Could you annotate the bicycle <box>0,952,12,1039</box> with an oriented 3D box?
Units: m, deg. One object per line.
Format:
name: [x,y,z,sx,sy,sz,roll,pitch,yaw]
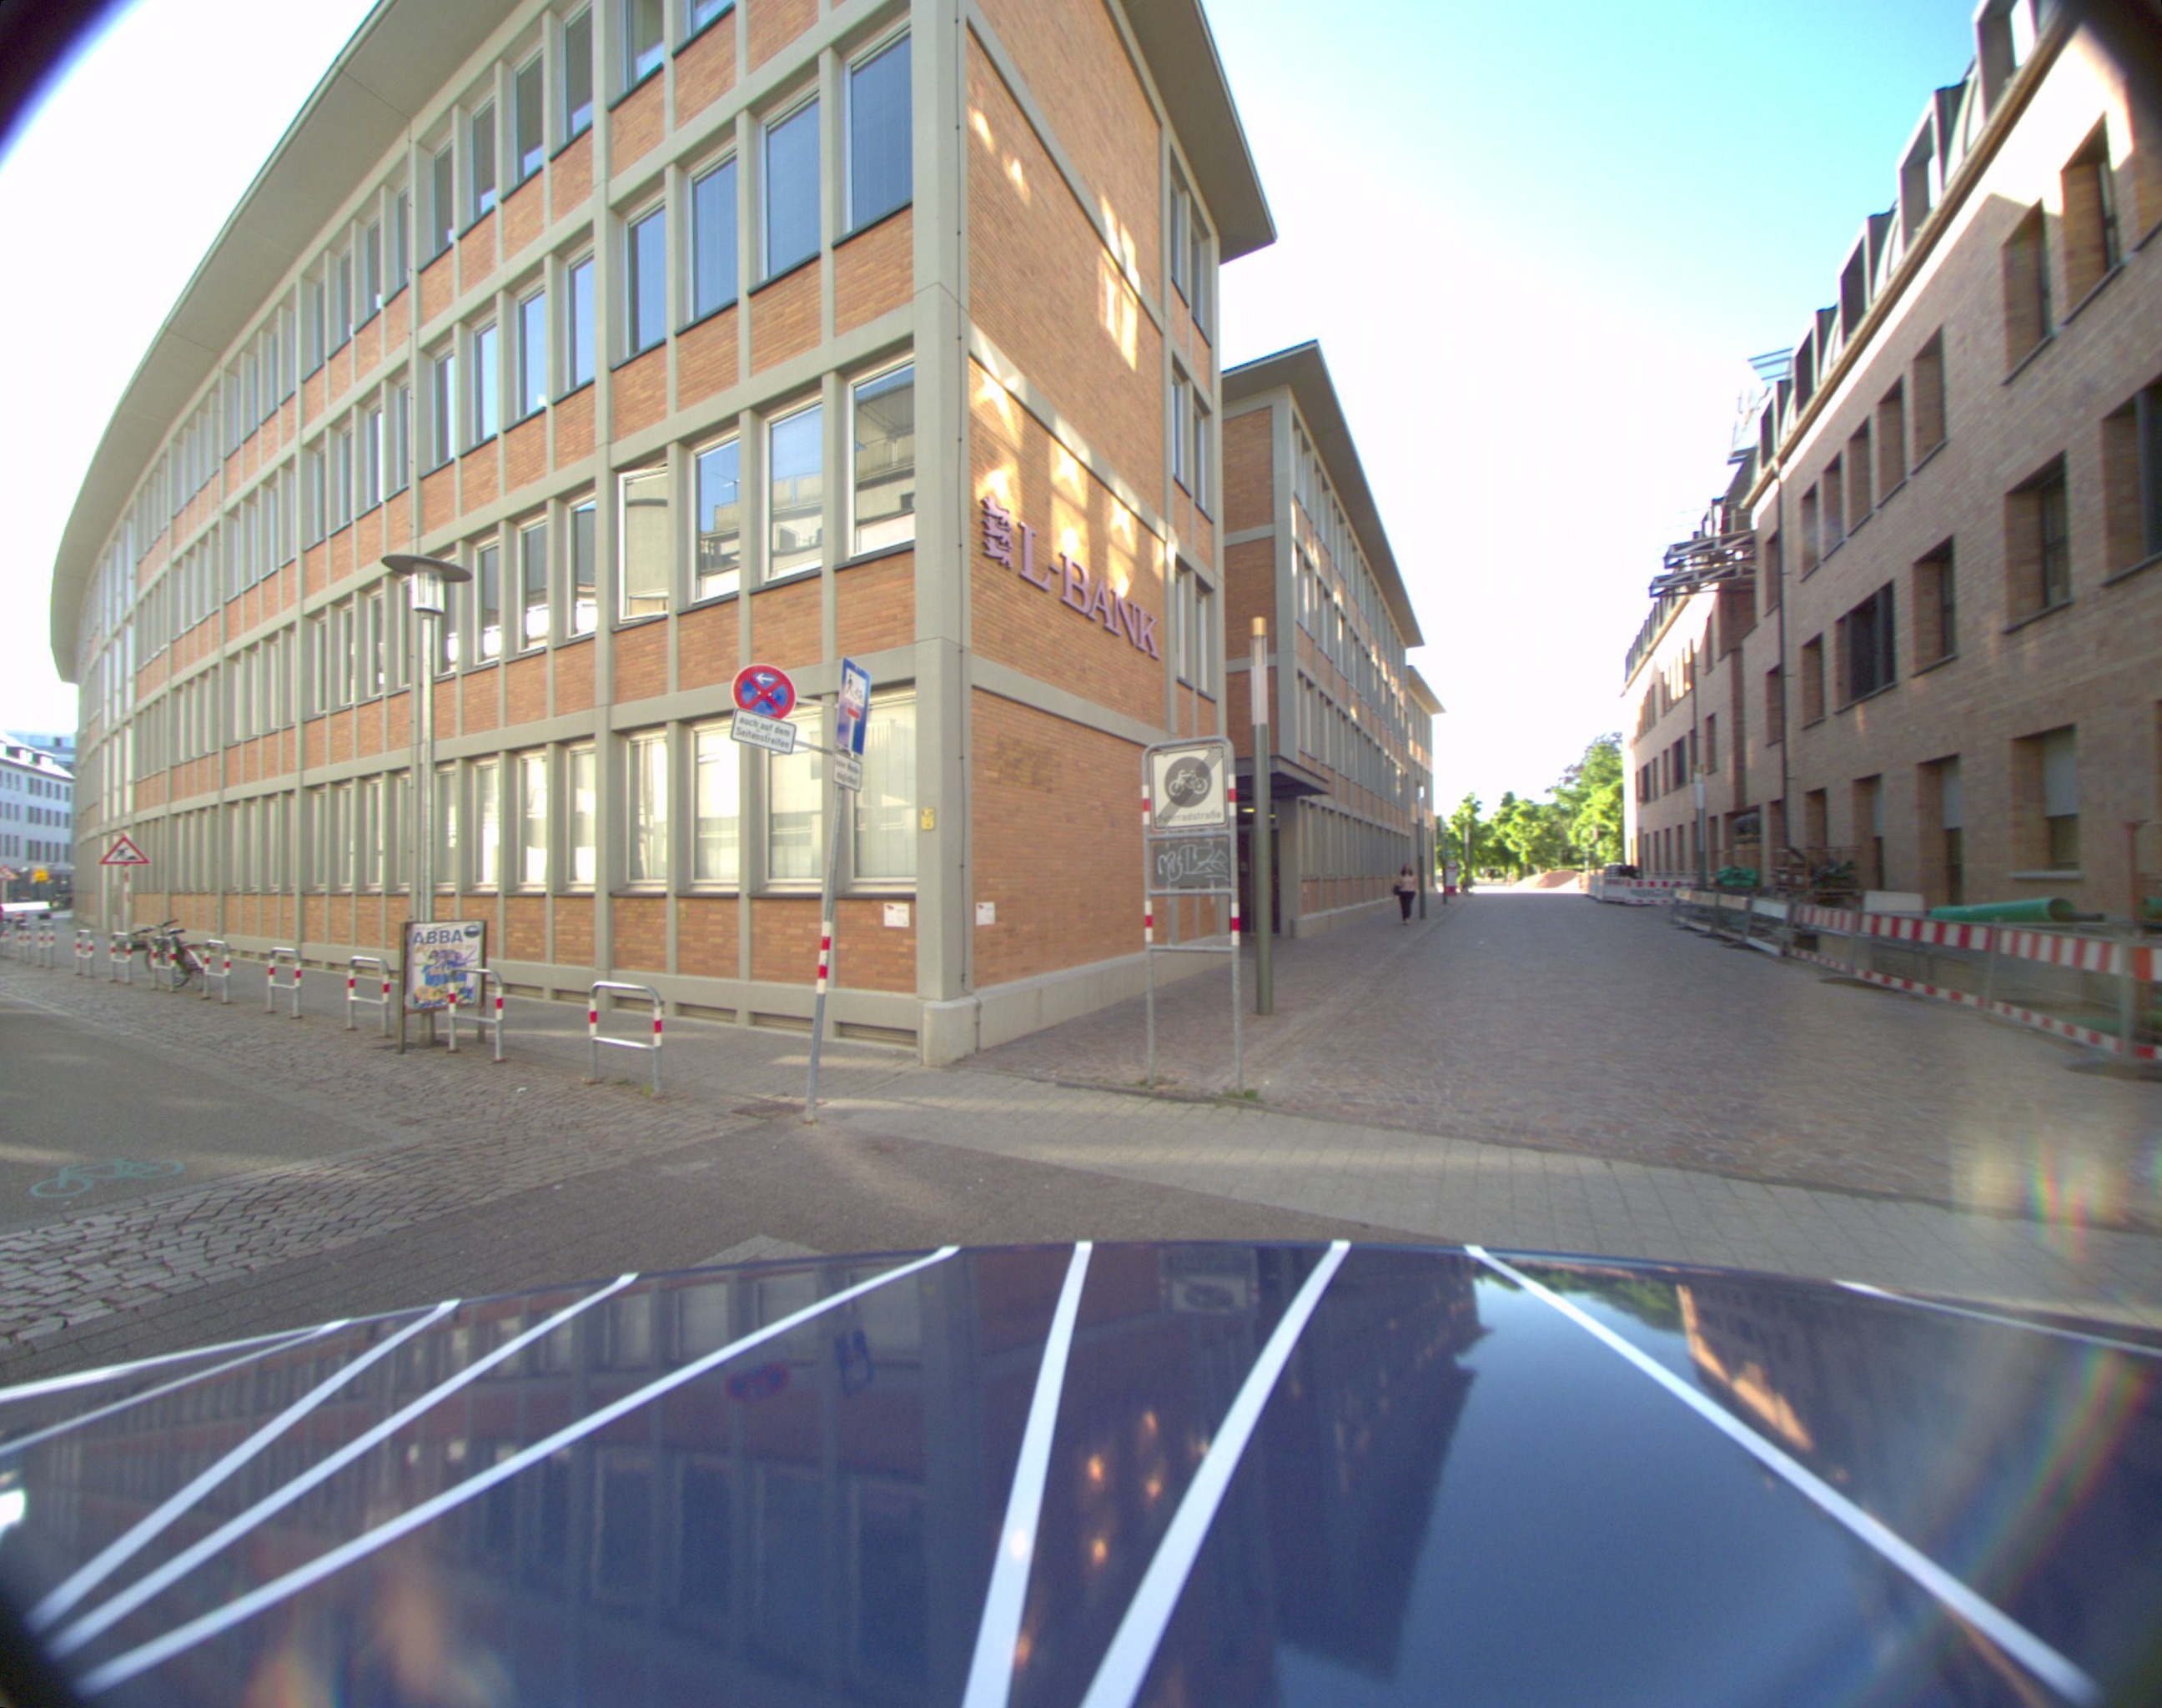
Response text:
bicycle: [-12.924,1.612,8.774,1.587,0.950,0.437,-1,-4,29]

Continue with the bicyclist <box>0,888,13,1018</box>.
bicyclist: [-12.929,1.142,8.803,0.873,1.488,0.429,0,-2,23]

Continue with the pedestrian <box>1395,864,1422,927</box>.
pedestrian: [9.458,1.193,21.931,0.637,1.774,0.654,-1,-3,29]

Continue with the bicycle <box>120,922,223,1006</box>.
bicycle: [-13.883,1.641,11.587,1.925,1.109,0.639,-1,-1,28]
